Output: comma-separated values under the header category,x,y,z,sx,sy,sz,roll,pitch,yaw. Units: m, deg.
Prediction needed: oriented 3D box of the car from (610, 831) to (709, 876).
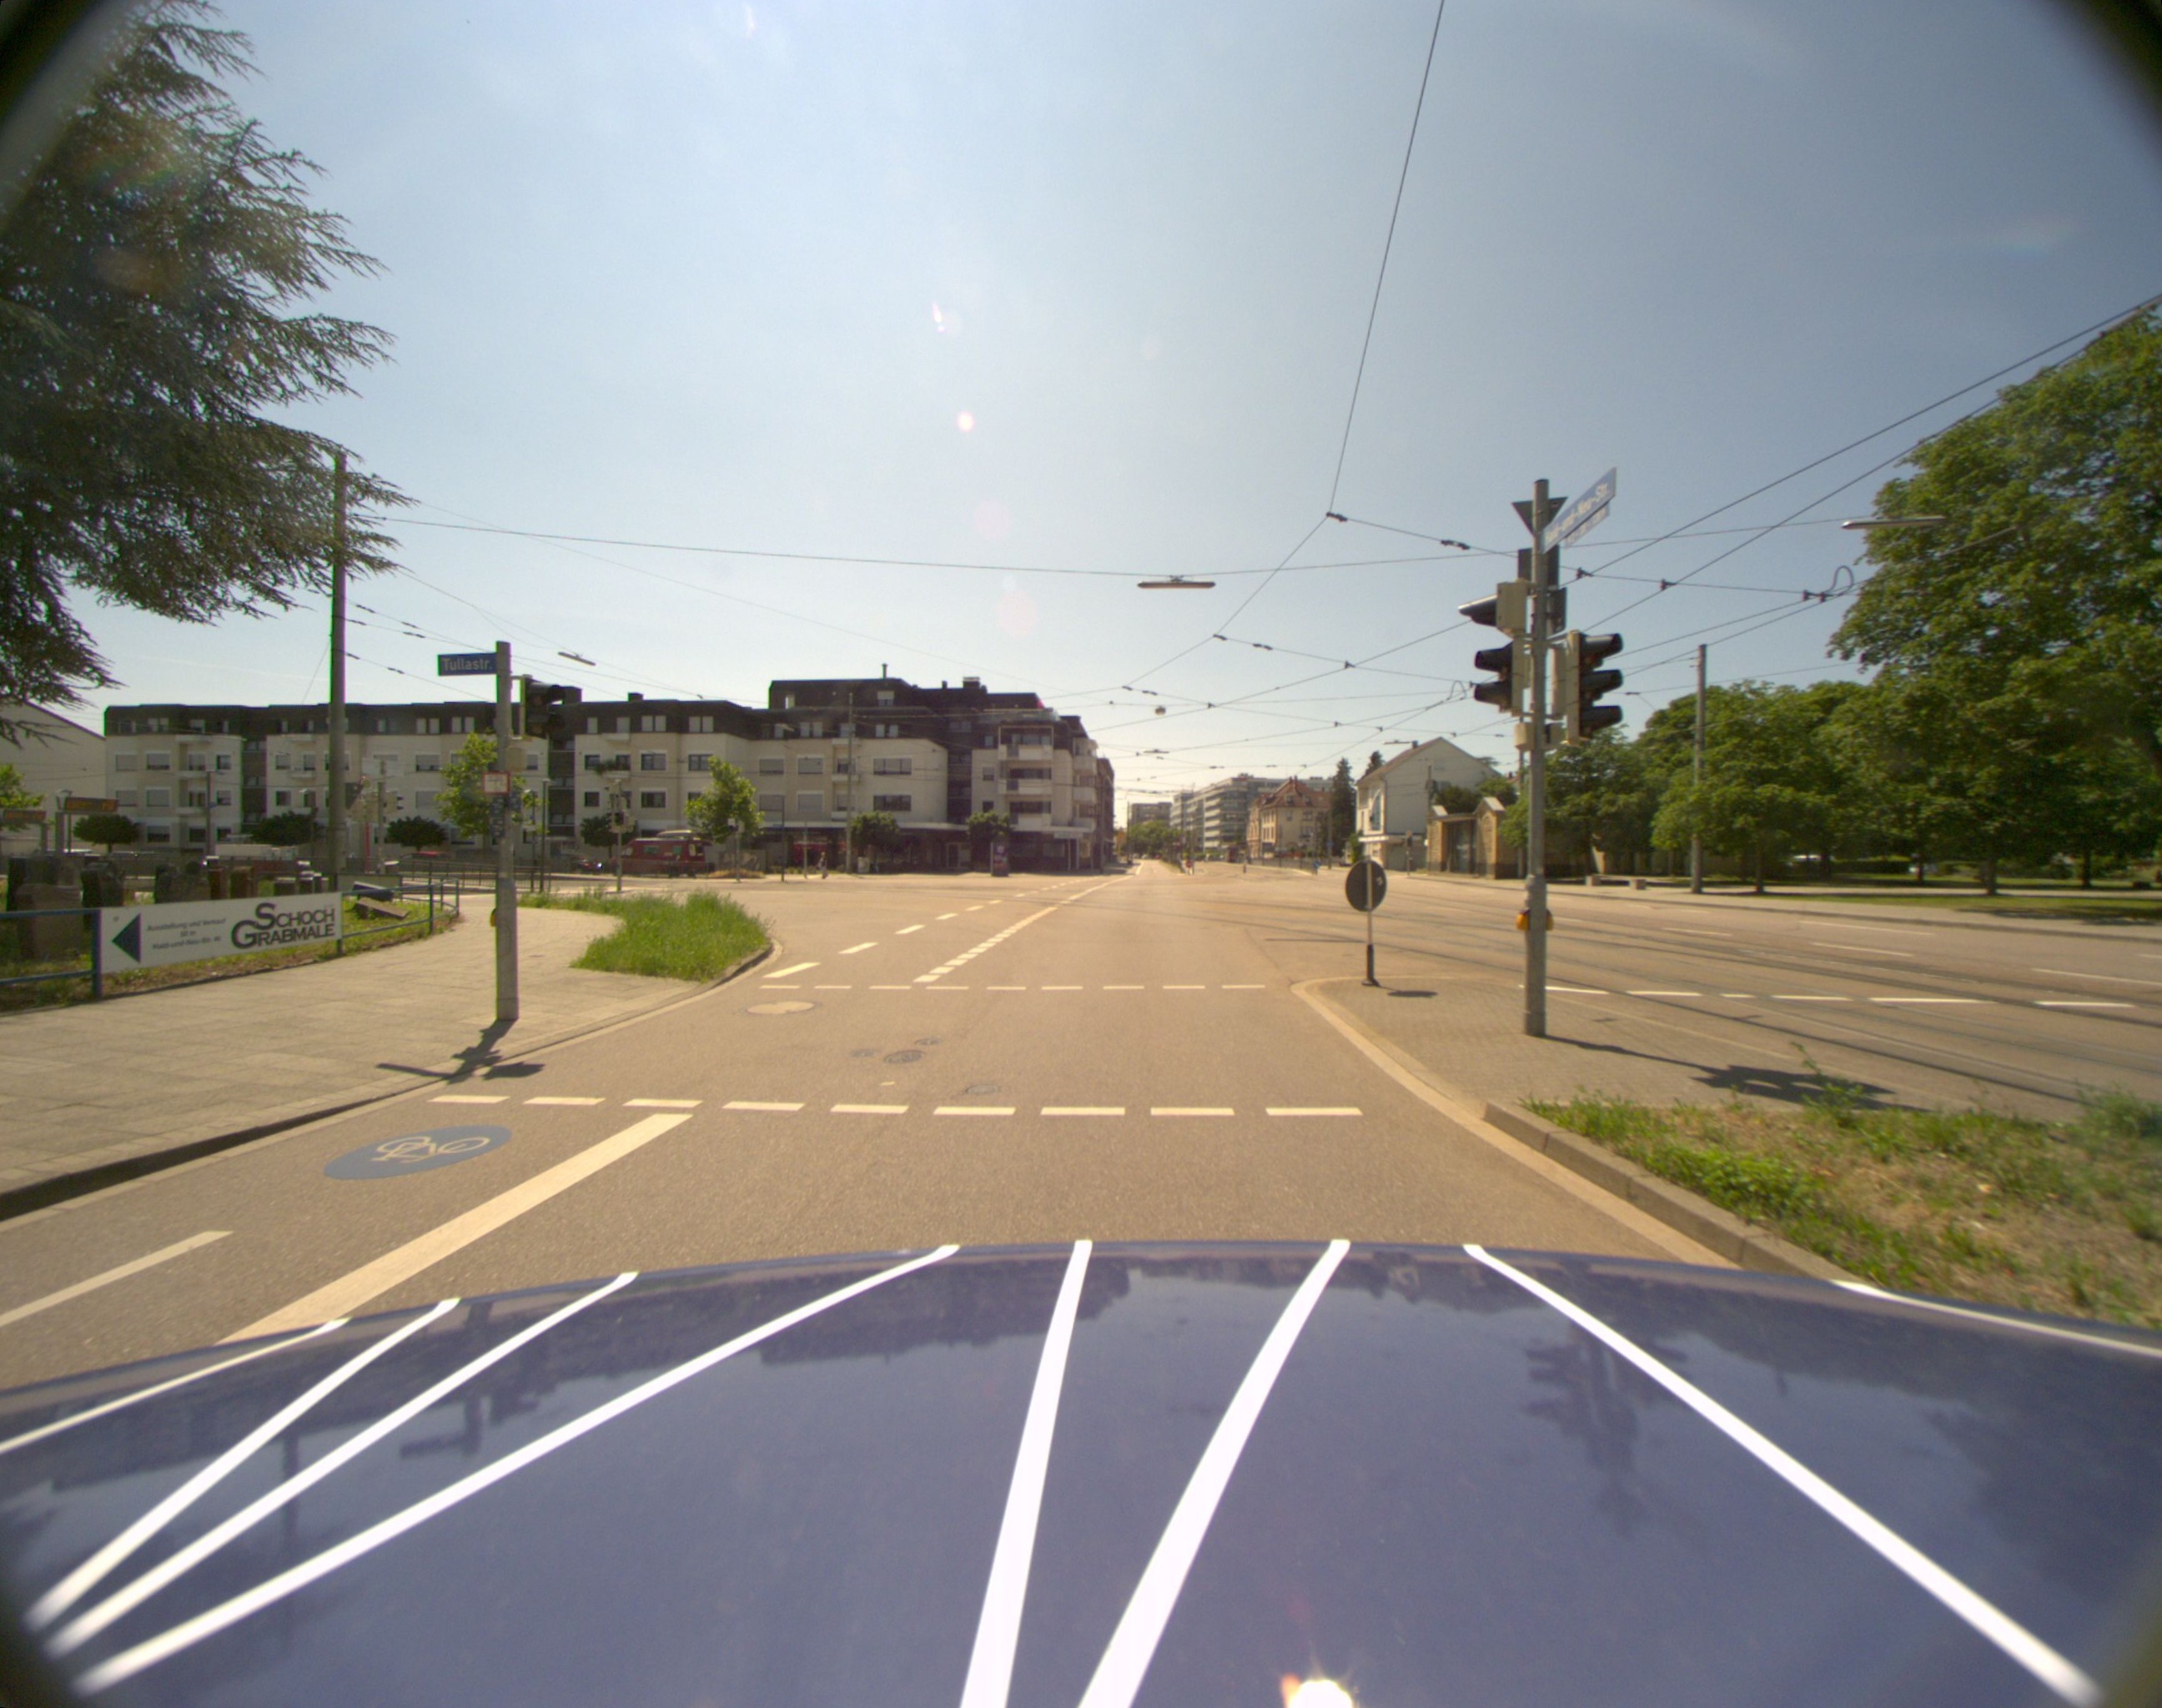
category,x,y,z,sx,sy,sz,roll,pitch,yaw
car,-26.417,-0.031,47.705,5.201,2.712,2.001,1,0,4

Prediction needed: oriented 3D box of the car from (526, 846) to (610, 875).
category,x,y,z,sx,sy,sz,roll,pitch,yaw
car,-32.423,0.415,48.124,3.996,1.740,2.000,1,1,3

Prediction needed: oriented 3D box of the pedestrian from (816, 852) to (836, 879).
category,x,y,z,sx,sy,sz,roll,pitch,yaw
pedestrian,-15.461,0.684,46.108,0.806,1.615,0.944,1,0,11
